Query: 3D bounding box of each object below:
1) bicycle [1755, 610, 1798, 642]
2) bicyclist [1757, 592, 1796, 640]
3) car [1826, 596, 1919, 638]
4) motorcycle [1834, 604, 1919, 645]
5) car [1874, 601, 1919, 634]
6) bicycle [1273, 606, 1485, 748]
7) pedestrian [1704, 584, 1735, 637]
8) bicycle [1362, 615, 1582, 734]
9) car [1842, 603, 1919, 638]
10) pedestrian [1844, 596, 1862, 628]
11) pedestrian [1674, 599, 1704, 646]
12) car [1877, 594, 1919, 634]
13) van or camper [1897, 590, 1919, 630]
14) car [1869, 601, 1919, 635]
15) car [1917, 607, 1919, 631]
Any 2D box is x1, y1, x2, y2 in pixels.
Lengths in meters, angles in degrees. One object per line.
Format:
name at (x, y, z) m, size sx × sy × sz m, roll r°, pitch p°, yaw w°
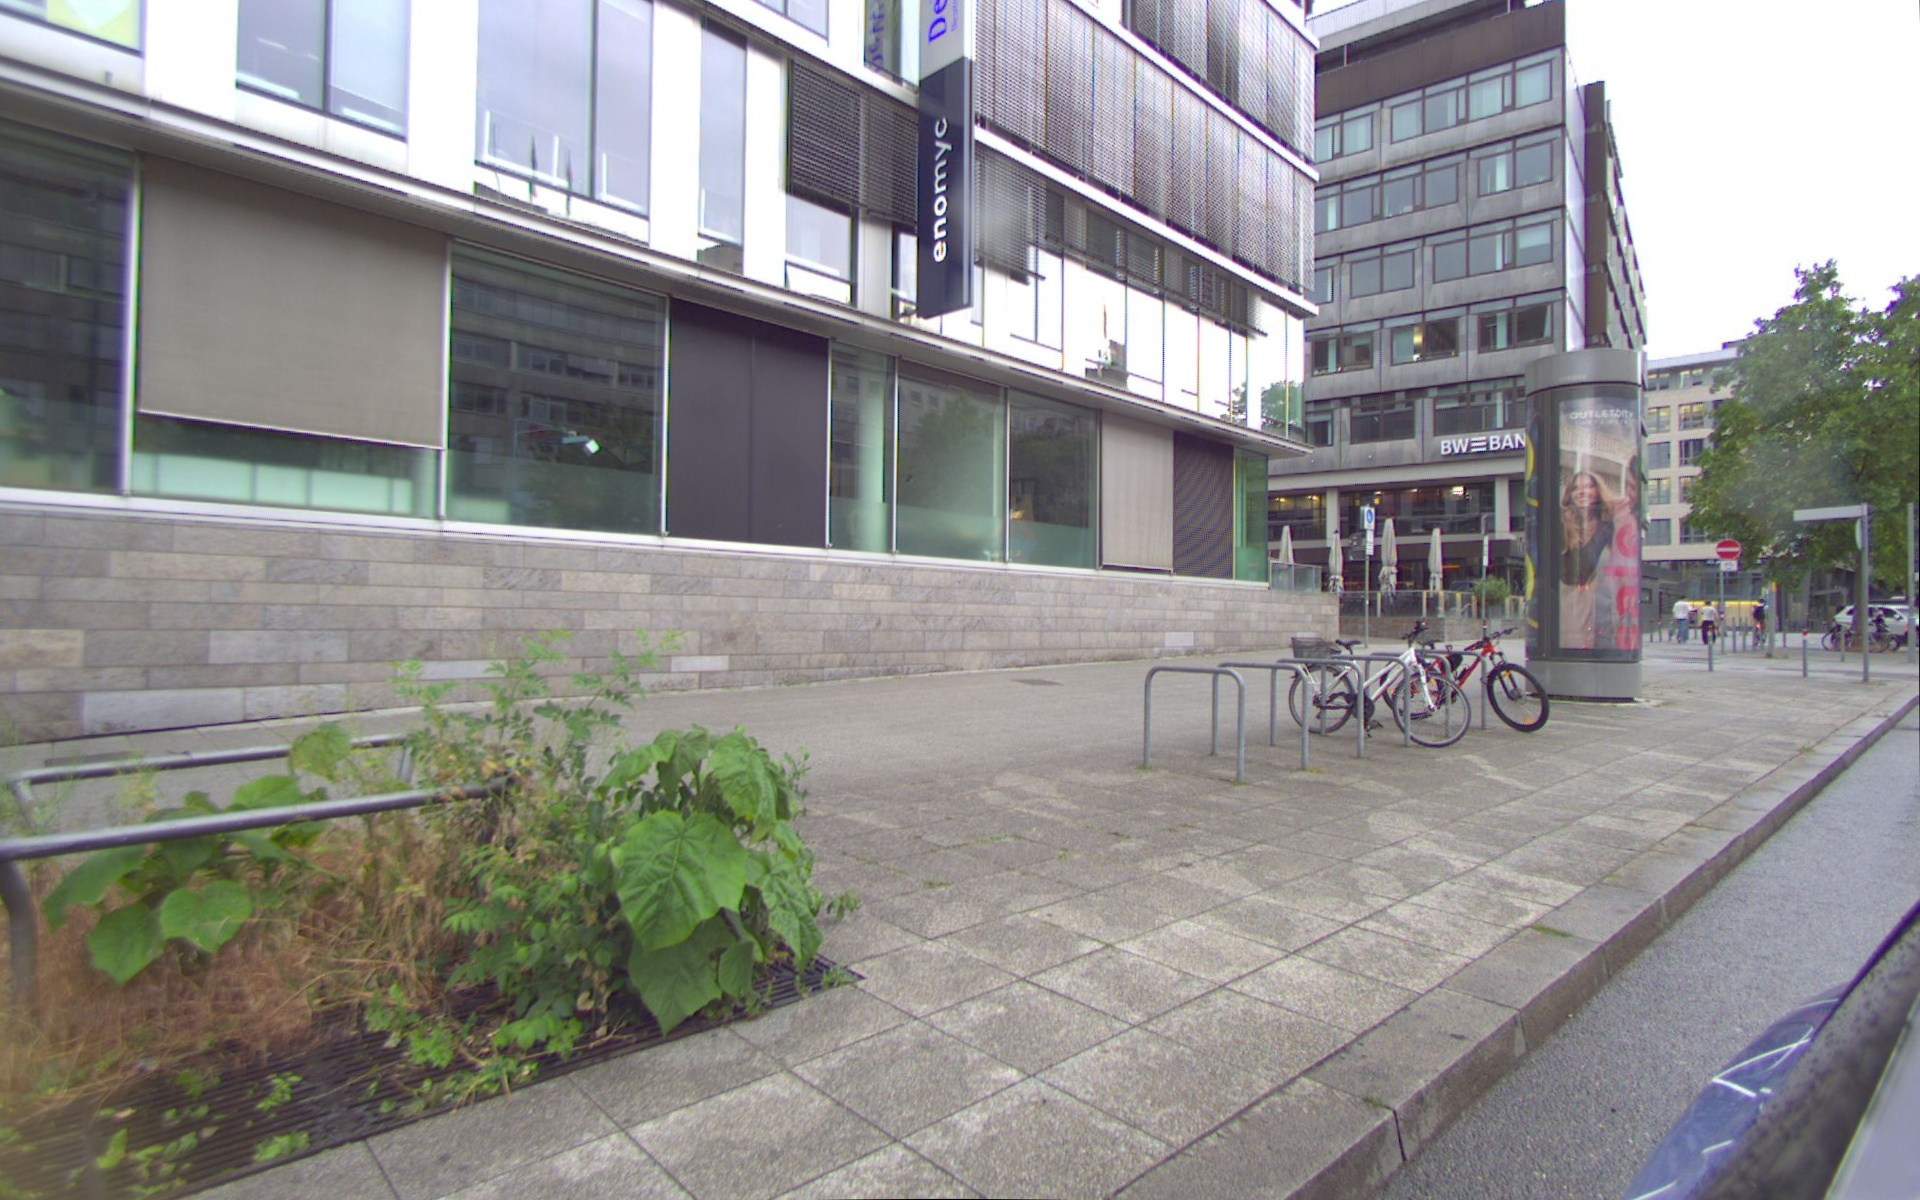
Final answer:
bicycle at (31.106, 0.986, 38.541) m, size 1.942 × 1.154 × 0.776 m, roll 1°, pitch -4°, yaw -38°
bicyclist at (31.118, 0.612, 38.586) m, size 1.060 × 1.772 × 0.811 m, roll -1°, pitch -3°, yaw -37°
car at (38.710, 0.704, 41.377) m, size 1.876 × 1.671 × 4.812 m, roll 0°, pitch -1°, yaw -11°
motorcycle at (31.693, 0.829, 34.994) m, size 0.664 × 1.375 × 2.090 m, roll 1°, pitch -2°, yaw -34°
car at (46.766, 0.829, 48.228) m, size 1.876 × 1.557 × 4.399 m, roll 0°, pitch -1°, yaw -14°
bicycle at (4.037, 0.688, 9.895) m, size 0.648 × 1.212 × 1.841 m, roll 1°, pitch 0°, yaw -37°
pedestrian at (30.066, 0.422, 40.052) m, size 0.740 × 2.065 × 0.850 m, roll 1°, pitch -2°, yaw -44°
bicycle at (5.496, 0.750, 10.988) m, size 0.793 × 1.118 × 1.989 m, roll 1°, pitch 0°, yaw -37°
car at (41.067, 0.877, 43.405) m, size 1.877 × 1.493 × 4.729 m, roll 0°, pitch -1°, yaw -9°
pedestrian at (53.575, 0.697, 60.715) m, size 0.719 × 1.908 × 0.646 m, roll -2°, pitch -2°, yaw 43°
pedestrian at (29.304, 0.904, 40.682) m, size 0.883 × 1.893 × 0.802 m, roll 1°, pitch -2°, yaw -42°
car at (48.776, 0.684, 50.239) m, size 1.882 × 2.018 × 4.525 m, roll 0°, pitch -1°, yaw -12°
van or camper at (61.320, 0.575, 61.443) m, size 2.267 × 2.479 × 6.275 m, roll 0°, pitch -1°, yaw -11°
car at (44.807, 0.816, 46.353) m, size 1.876 × 1.557 × 4.365 m, roll 0°, pitch -1°, yaw -14°
car at (58.709, 1.104, 58.940) m, size 1.673 × 1.442 × 4.068 m, roll 0°, pitch -1°, yaw -12°
